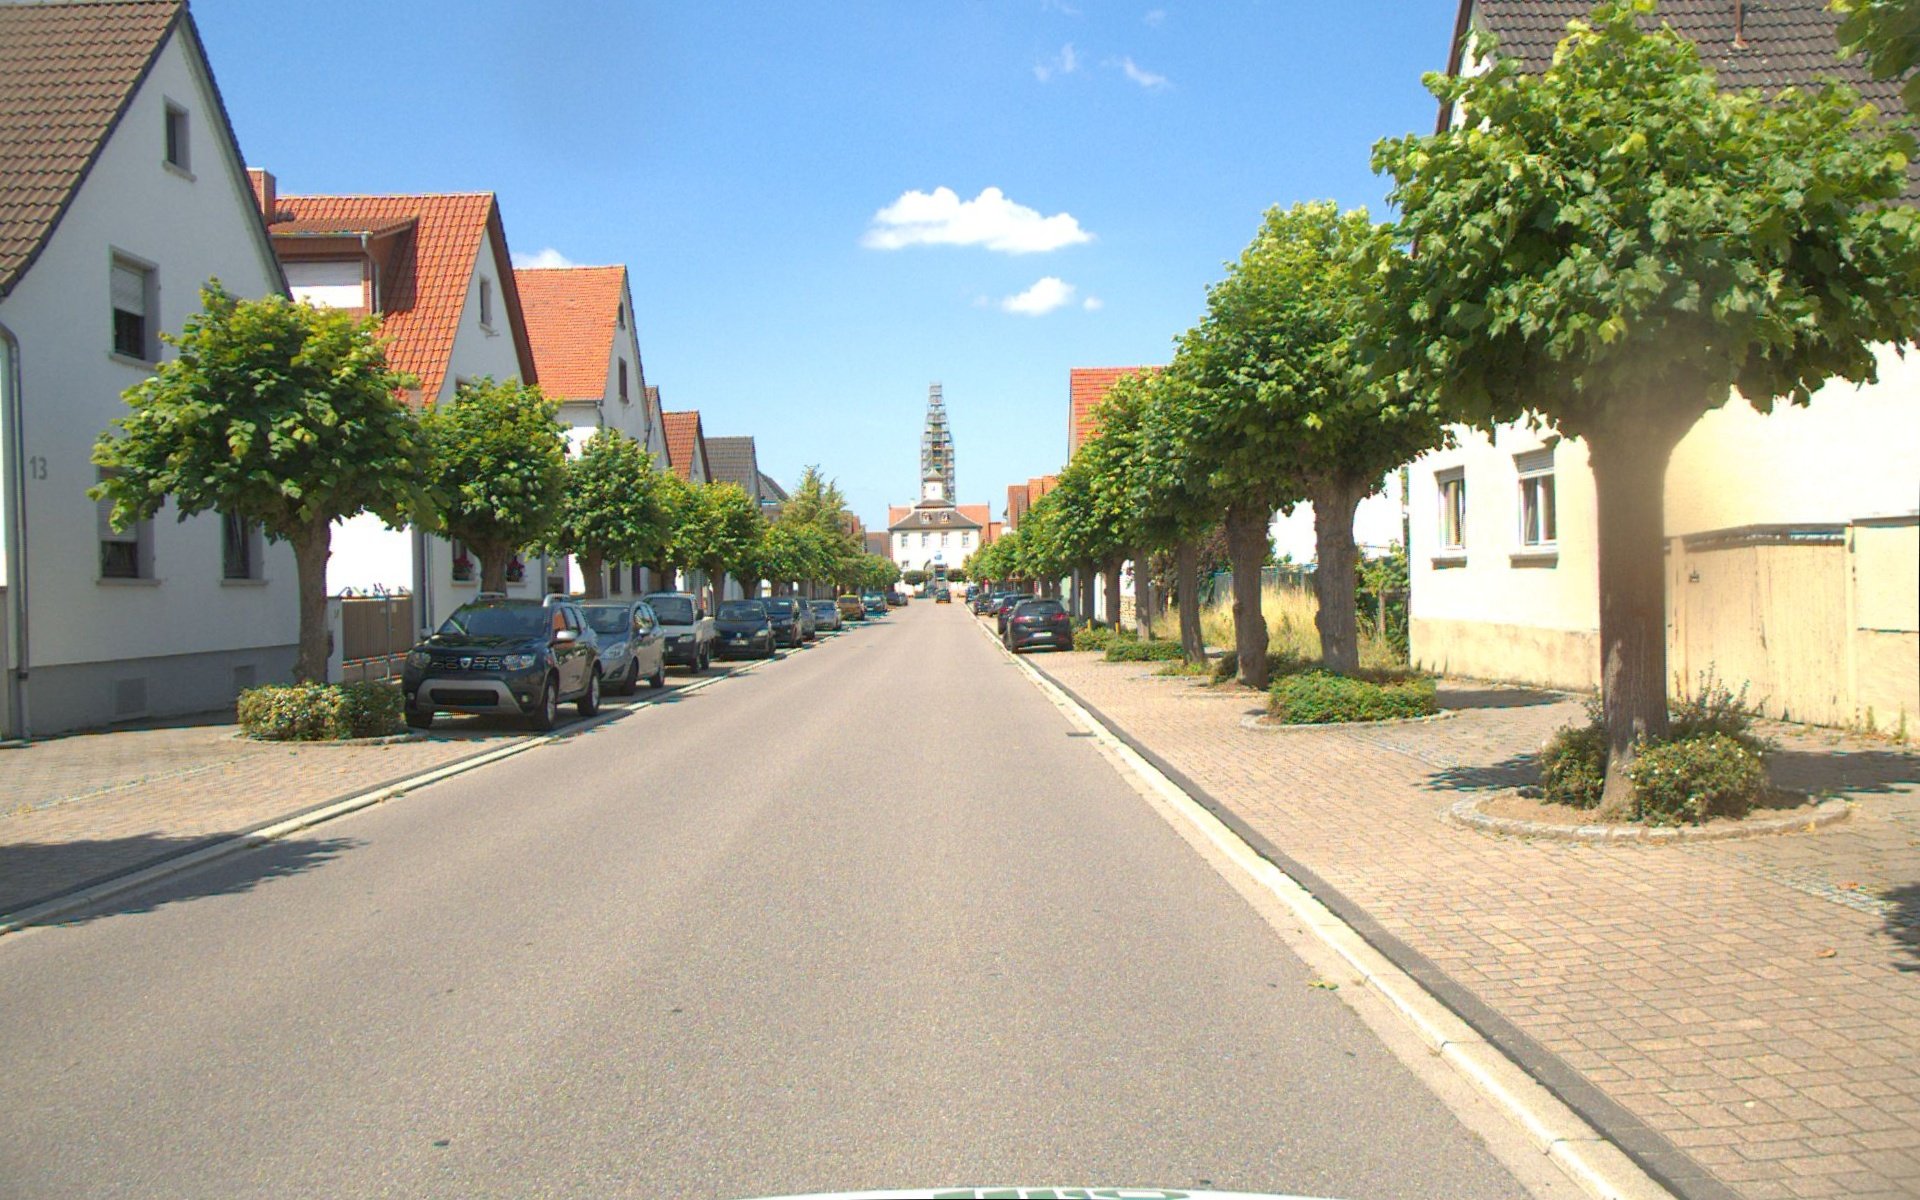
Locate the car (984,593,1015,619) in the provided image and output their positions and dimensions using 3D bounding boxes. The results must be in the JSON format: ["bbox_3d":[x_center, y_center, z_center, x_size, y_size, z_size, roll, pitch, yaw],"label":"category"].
[{"bbox_3d":[2.577,0.357,108.332,1.800,1.636,3.999,-1,0,-2],"label":"car"}]

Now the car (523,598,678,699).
[{"bbox_3d":[-6.255,0.809,29.289,1.815,1.641,4.370,0,0,-1],"label":"car"}]

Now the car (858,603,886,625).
[{"bbox_3d":[-6.901,1.074,130.185,1.952,1.639,4.689,-1,1,0],"label":"car"}]

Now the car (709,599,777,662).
[{"bbox_3d":[-5.992,0.823,46.073,1.751,1.662,3.995,0,0,-6],"label":"car"}]

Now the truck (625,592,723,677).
[{"bbox_3d":[-6.444,0.746,37.632,1.544,1.796,4.191,0,0,-1],"label":"truck"}]

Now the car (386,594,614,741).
[{"bbox_3d":[-5.881,0.791,21.677,1.815,1.665,4.299,1,1,-1],"label":"car"}]

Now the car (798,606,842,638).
[{"bbox_3d":[-6.615,1.002,78.474,1.803,1.420,4.405,-1,0,-1],"label":"car"}]

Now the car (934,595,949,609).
[{"bbox_3d":[-2.066,0.190,186.527,1.694,1.574,3.455,0,0,-1],"label":"car"}]

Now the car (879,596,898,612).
[{"bbox_3d":[-7.454,0.454,173.132,1.721,1.582,4.020,-2,0,0],"label":"car"}]

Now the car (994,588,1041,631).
[{"bbox_3d":[2.384,0.362,67.675,1.786,1.613,4.059,-3,1,3],"label":"car"}]

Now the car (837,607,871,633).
[{"bbox_3d":[-6.946,1.269,108.745,1.952,1.639,4.689,0,0,0],"label":"car"}]

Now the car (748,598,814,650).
[{"bbox_3d":[-5.928,0.781,55.141,1.815,1.664,4.056,0,0,-1],"label":"car"}]

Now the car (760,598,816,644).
[{"bbox_3d":[-6.625,0.789,64.203,1.954,1.681,4.364,2,0,-4],"label":"car"}]

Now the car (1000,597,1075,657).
[{"bbox_3d":[2.142,0.722,46.625,1.787,1.457,4.056,-4,0,-1],"label":"car"}]

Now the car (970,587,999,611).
[{"bbox_3d":[1.723,-0.067,116.113,1.800,1.582,4.313,-3,0,-1],"label":"car"}]

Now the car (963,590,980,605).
[{"bbox_3d":[1.248,-0.280,178.915,1.800,1.582,4.313,-3,0,0],"label":"car"}]
